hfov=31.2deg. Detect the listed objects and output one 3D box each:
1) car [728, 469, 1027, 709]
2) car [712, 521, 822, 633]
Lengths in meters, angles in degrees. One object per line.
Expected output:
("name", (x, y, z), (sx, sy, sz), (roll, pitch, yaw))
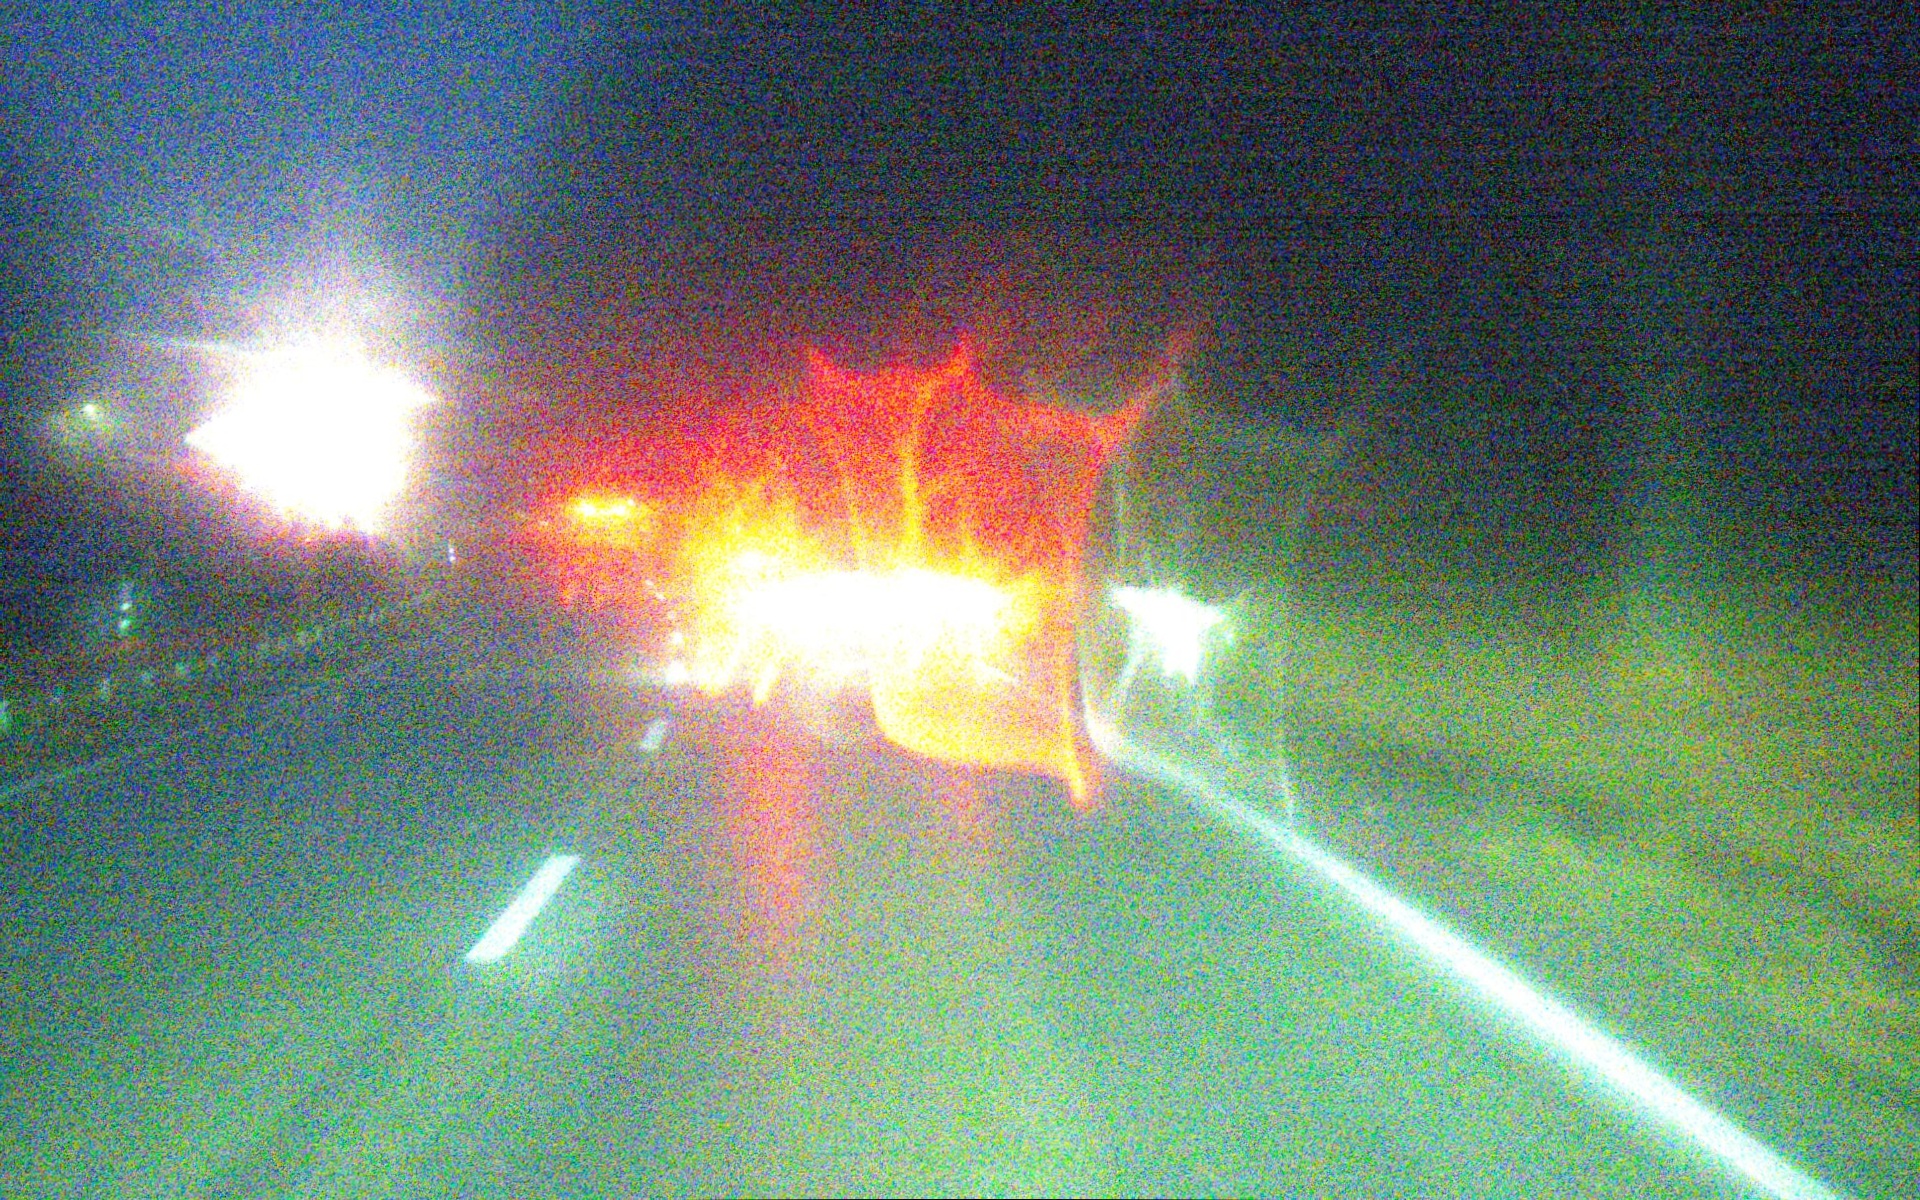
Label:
("car", (-0.783, -0.146, 31.145), (2.457, 1.952, 4.912), (-1, 1, -2))
("car", (-3.739, -0.448, 66.786), (1.993, 2.007, 4.000), (-3, 0, -3))
